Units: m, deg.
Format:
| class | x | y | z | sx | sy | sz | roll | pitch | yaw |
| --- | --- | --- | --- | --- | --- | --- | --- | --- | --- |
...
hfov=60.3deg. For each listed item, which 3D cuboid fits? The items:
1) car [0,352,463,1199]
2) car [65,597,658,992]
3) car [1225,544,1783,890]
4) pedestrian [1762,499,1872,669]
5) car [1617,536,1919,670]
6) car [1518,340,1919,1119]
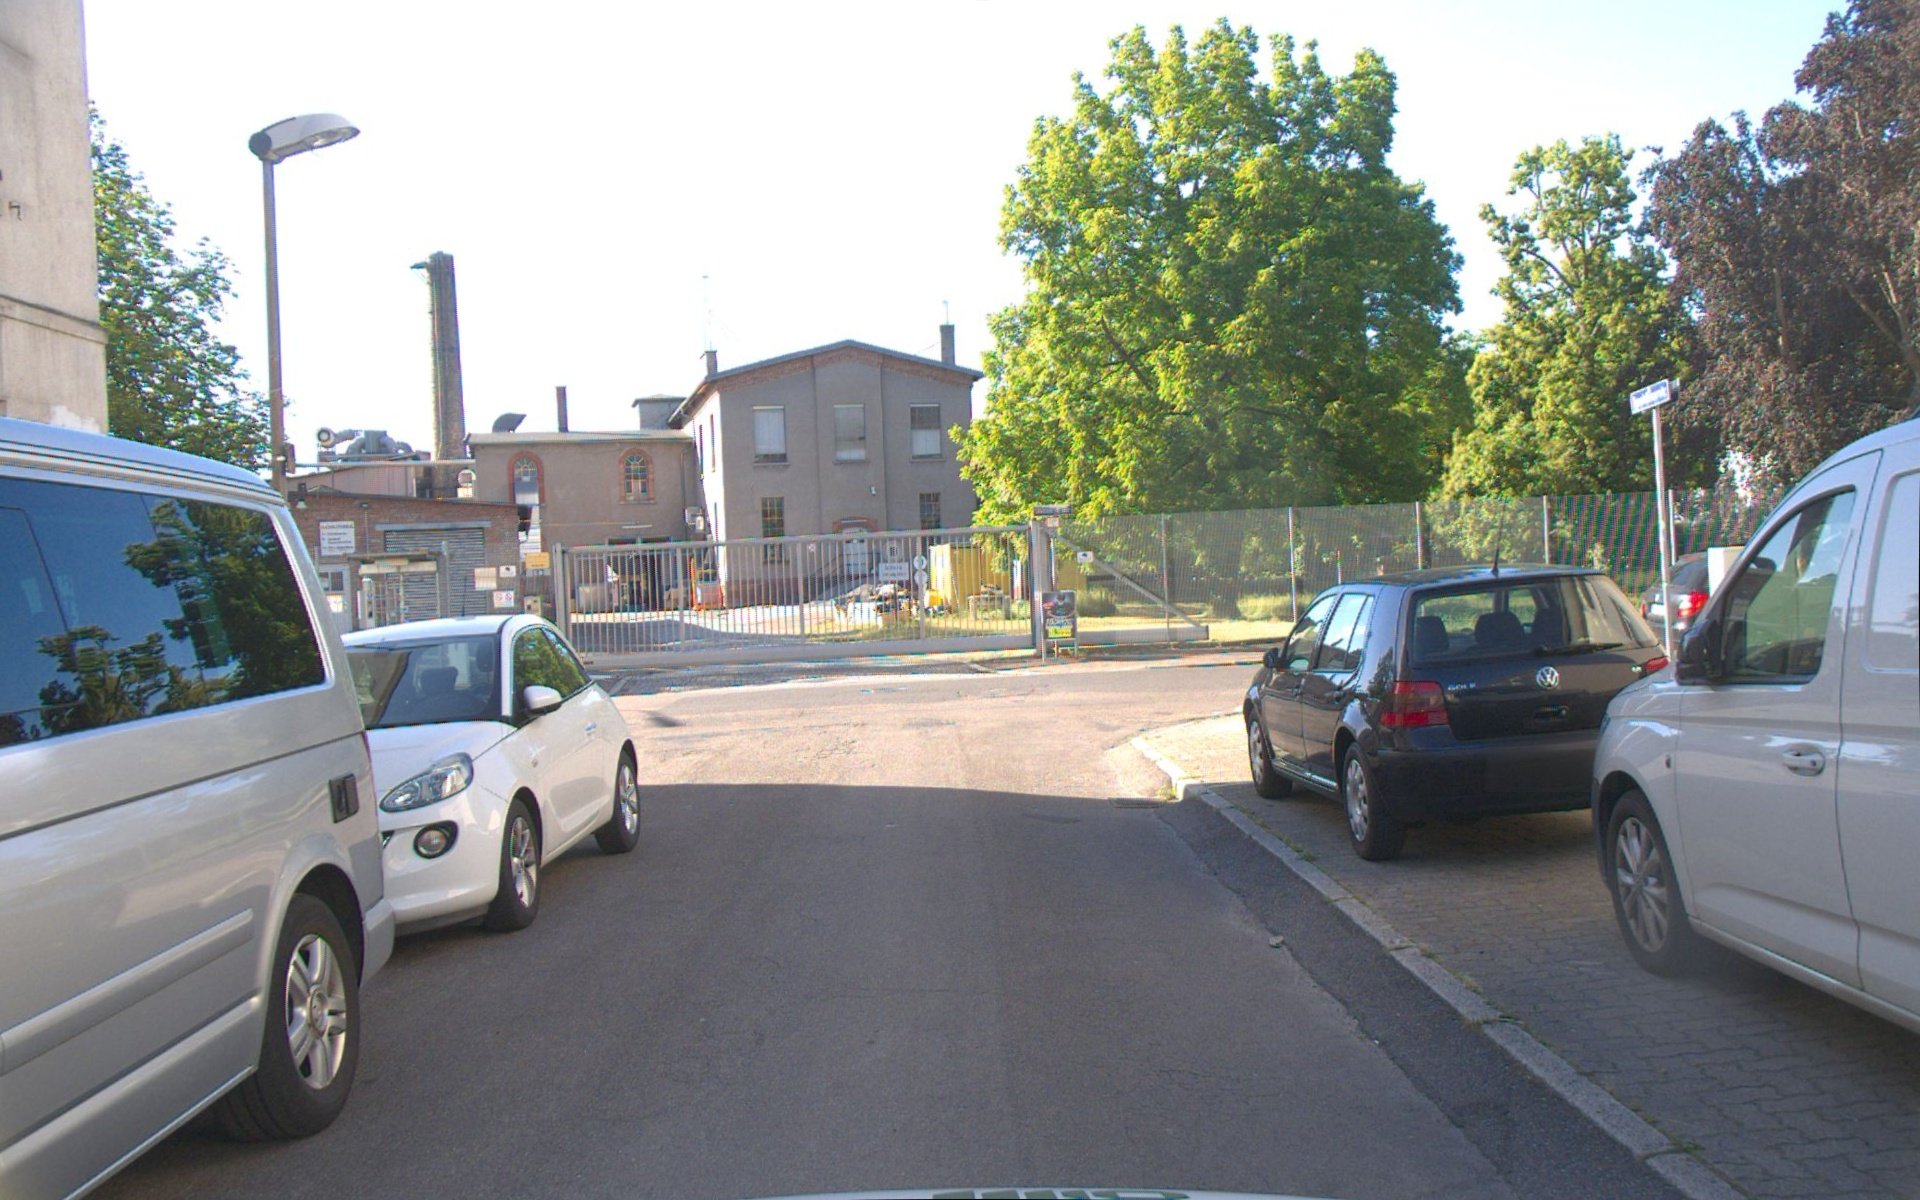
| class | x | y | z | sx | sy | sz | roll | pitch | yaw |
| --- | --- | --- | --- | --- | --- | --- | --- | --- | --- |
| car | -2.684 | 0.589 | 3.216 | 1.911 | 1.966 | 4.855 | -4 | 1 | -1 |
| car | -2.822 | 0.804 | 8.724 | 1.652 | 1.484 | 3.722 | -4 | 1 | 0 |
| car | 2.846 | 0.522 | 9.673 | 1.762 | 1.439 | 4.048 | -5 | 1 | -1 |
| pedestrian | 9.399 | -0.177 | 18.162 | 0.821 | 1.802 | 0.647 | -2 | 1 | -2 |
| car | 10.901 | 0.010 | 21.576 | 3.991 | 1.575 | 1.622 | -2 | 1 | -3 |
| car | 3.157 | 0.252 | 4.353 | 1.761 | 1.877 | 4.540 | -5 | 1 | 1 |
